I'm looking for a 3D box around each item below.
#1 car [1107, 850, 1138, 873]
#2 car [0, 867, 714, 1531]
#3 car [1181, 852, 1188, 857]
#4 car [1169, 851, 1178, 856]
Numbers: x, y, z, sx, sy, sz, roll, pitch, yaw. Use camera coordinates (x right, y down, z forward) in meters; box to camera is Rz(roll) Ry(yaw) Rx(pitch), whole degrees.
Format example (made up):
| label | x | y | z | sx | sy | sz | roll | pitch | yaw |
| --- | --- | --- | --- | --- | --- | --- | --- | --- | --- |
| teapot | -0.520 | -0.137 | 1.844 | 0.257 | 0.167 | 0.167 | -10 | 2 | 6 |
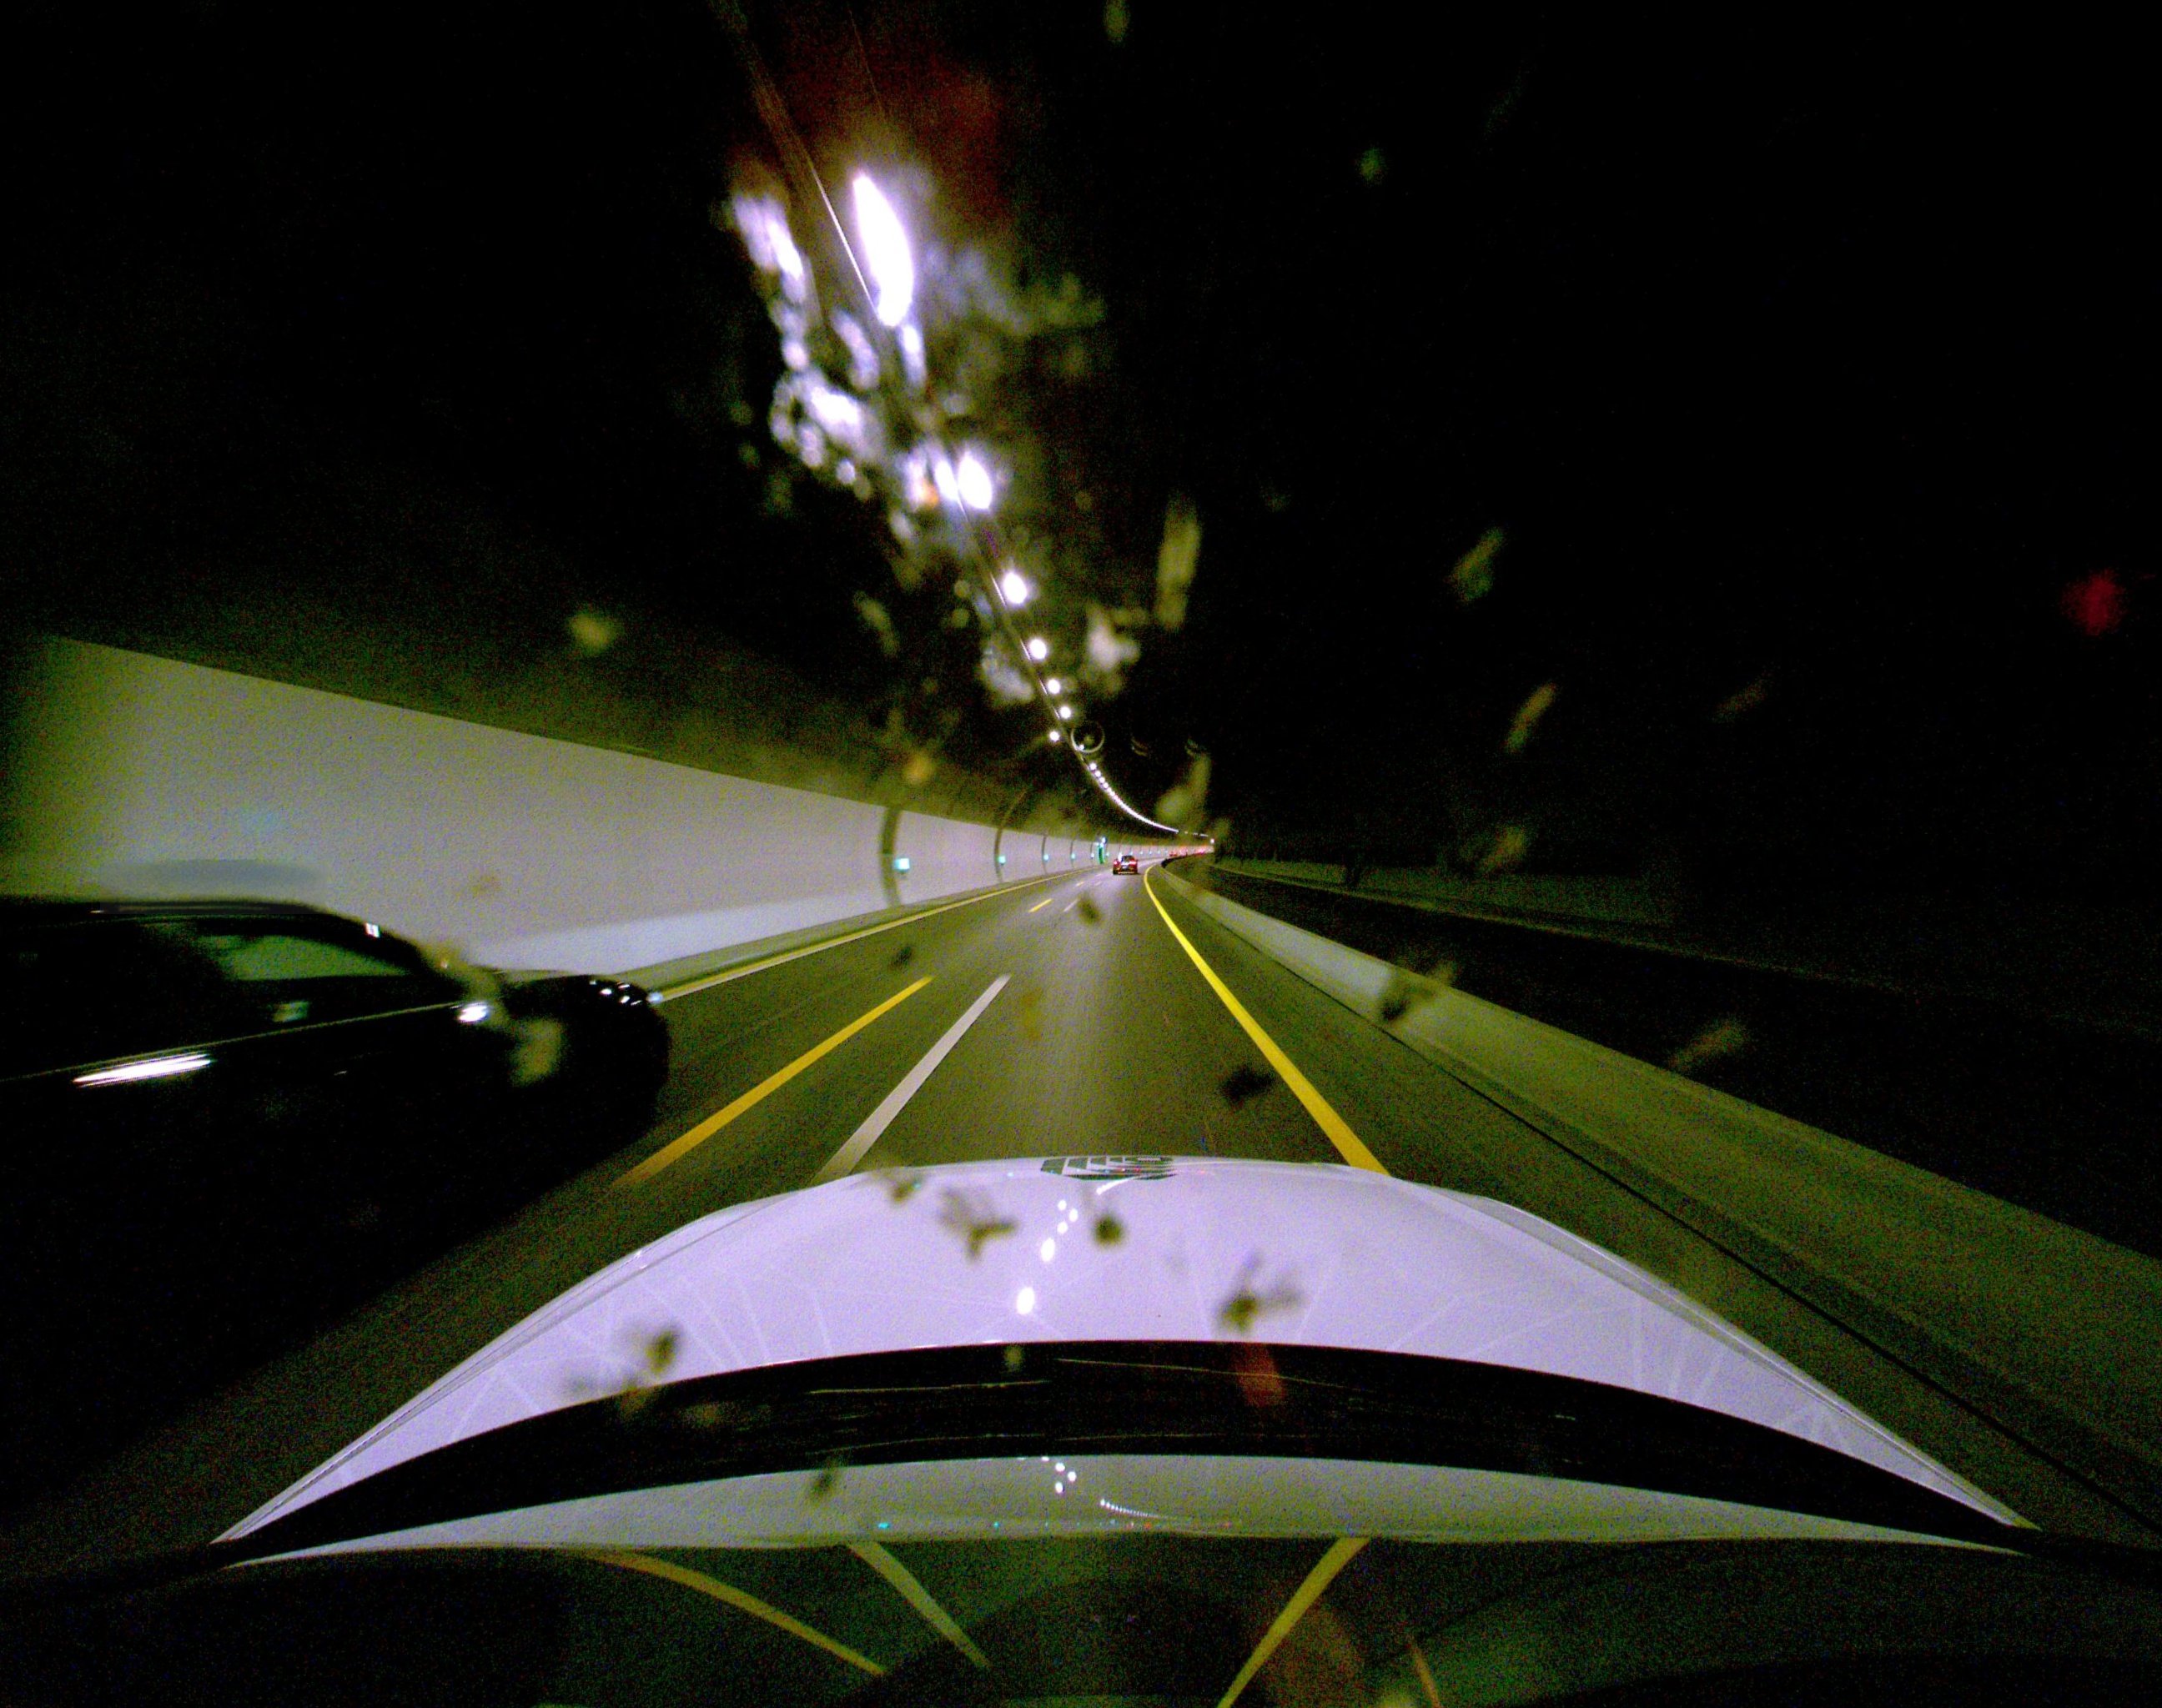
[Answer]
| label | x | y | z | sx | sy | sz | roll | pitch | yaw |
| --- | --- | --- | --- | --- | --- | --- | --- | --- | --- |
| car | 3.210 | 0.552 | 62.122 | 2.131 | 1.706 | 4.006 | -1 | 0 | 5 |
| car | -3.322 | 0.825 | 2.824 | 1.771 | 1.438 | 4.884 | -1 | 0 | 1 |
| car | 28.930 | 0.082 | 227.925 | 1.584 | 1.333 | 3.764 | -1 | 0 | 13 |
| car | 26.582 | -0.227 | 234.770 | 2.150 | 1.486 | 4.014 | -1 | 0 | 13 |
